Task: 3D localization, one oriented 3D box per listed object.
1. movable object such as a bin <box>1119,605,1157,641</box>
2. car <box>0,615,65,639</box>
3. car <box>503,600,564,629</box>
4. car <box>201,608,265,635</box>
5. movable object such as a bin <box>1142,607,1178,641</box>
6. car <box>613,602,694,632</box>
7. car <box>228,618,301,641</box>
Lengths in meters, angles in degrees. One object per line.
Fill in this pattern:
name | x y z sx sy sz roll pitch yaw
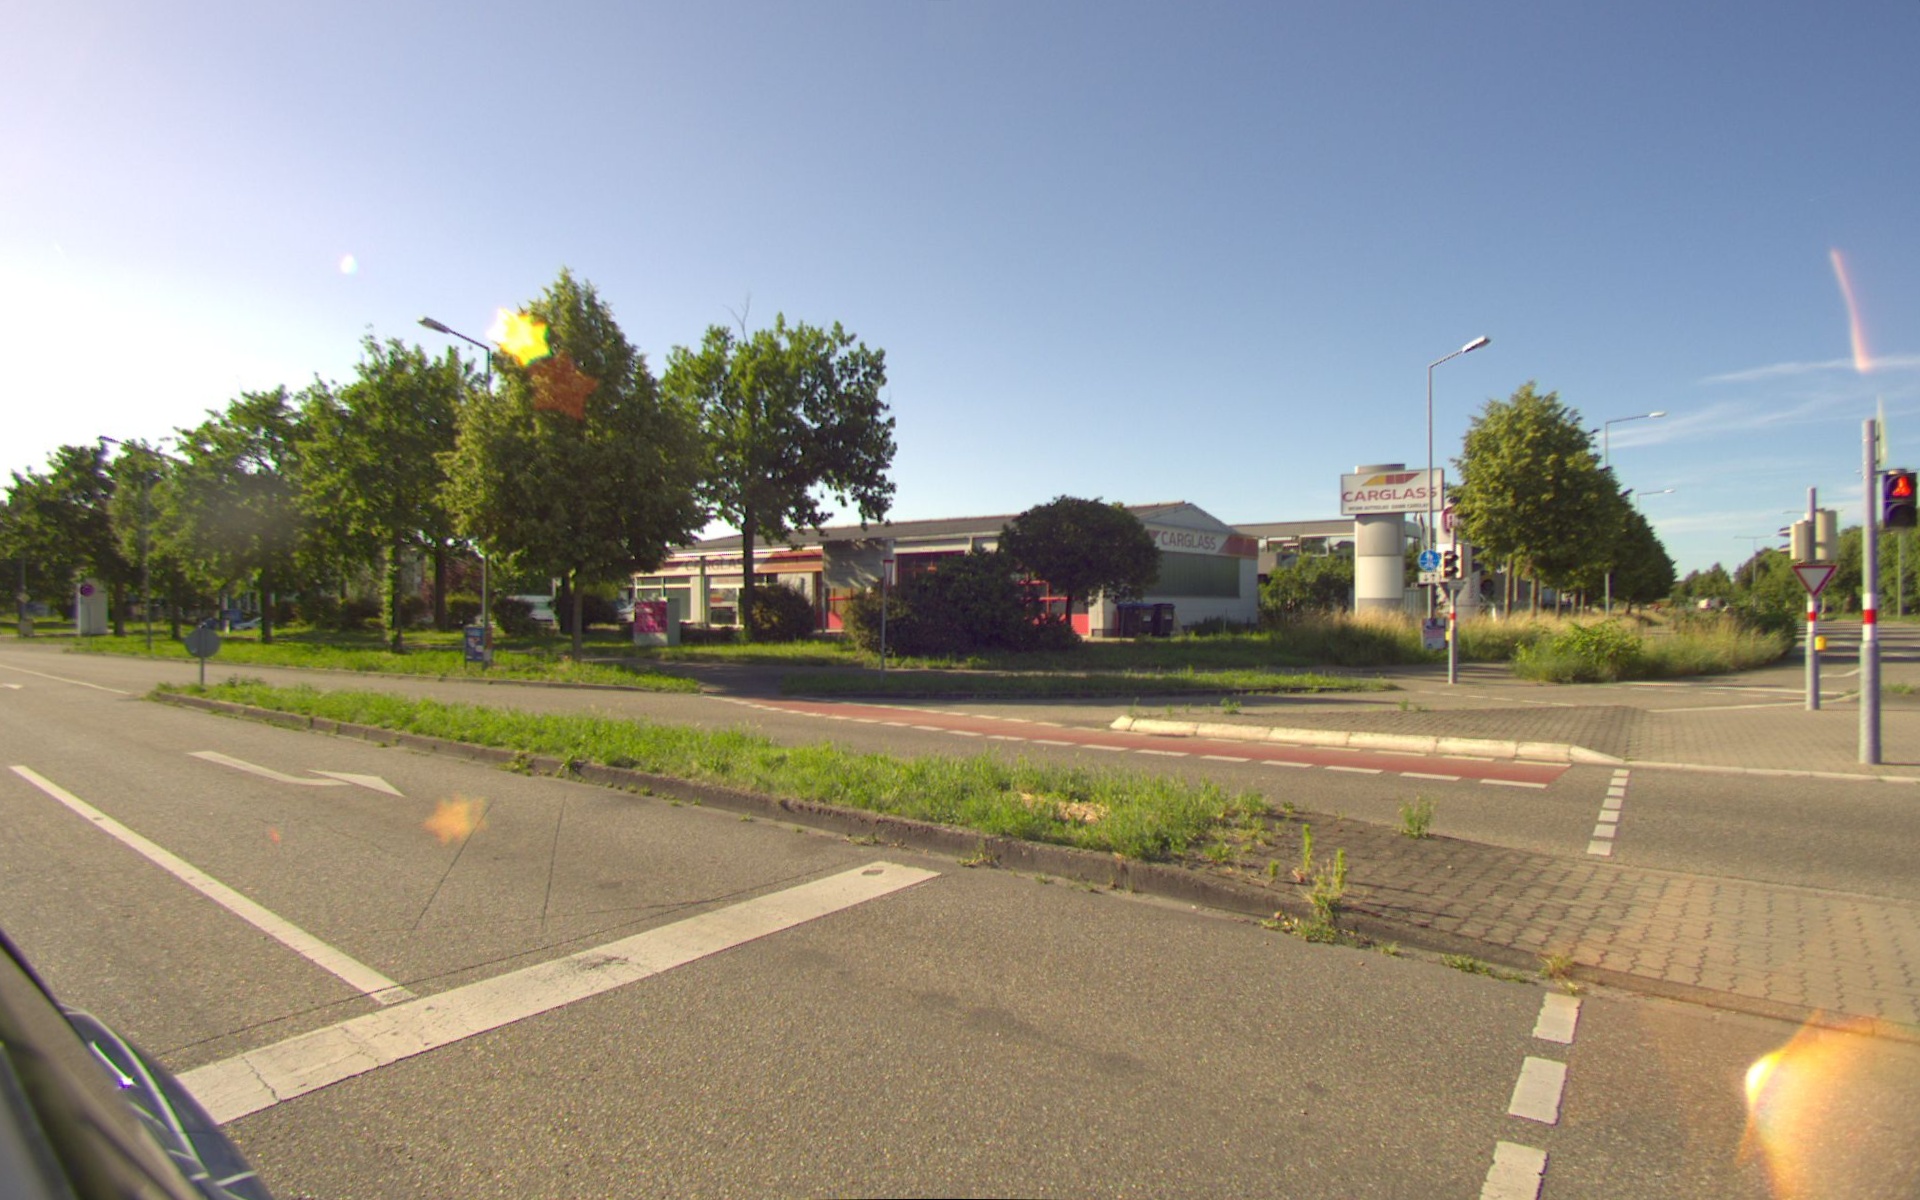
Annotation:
movable object such as a bin | 6.728 0.865 38.299 0.992 1.308 1.116 -1 -1 41
car | -63.419 1.820 68.517 4.152 1.497 1.779 0 -1 -44
car | -33.462 1.155 79.474 1.775 2.233 4.161 -1 -1 38
car | -57.810 1.694 80.544 3.938 2.029 2.003 -2 1 -41
movable object such as a bin | 7.855 0.943 39.728 0.992 1.308 1.116 -1 -1 41
car | -18.105 0.968 59.877 1.995 1.599 4.186 -1 1 39
car | -53.984 2.276 78.558 4.428 1.719 2.002 1 -1 -44
